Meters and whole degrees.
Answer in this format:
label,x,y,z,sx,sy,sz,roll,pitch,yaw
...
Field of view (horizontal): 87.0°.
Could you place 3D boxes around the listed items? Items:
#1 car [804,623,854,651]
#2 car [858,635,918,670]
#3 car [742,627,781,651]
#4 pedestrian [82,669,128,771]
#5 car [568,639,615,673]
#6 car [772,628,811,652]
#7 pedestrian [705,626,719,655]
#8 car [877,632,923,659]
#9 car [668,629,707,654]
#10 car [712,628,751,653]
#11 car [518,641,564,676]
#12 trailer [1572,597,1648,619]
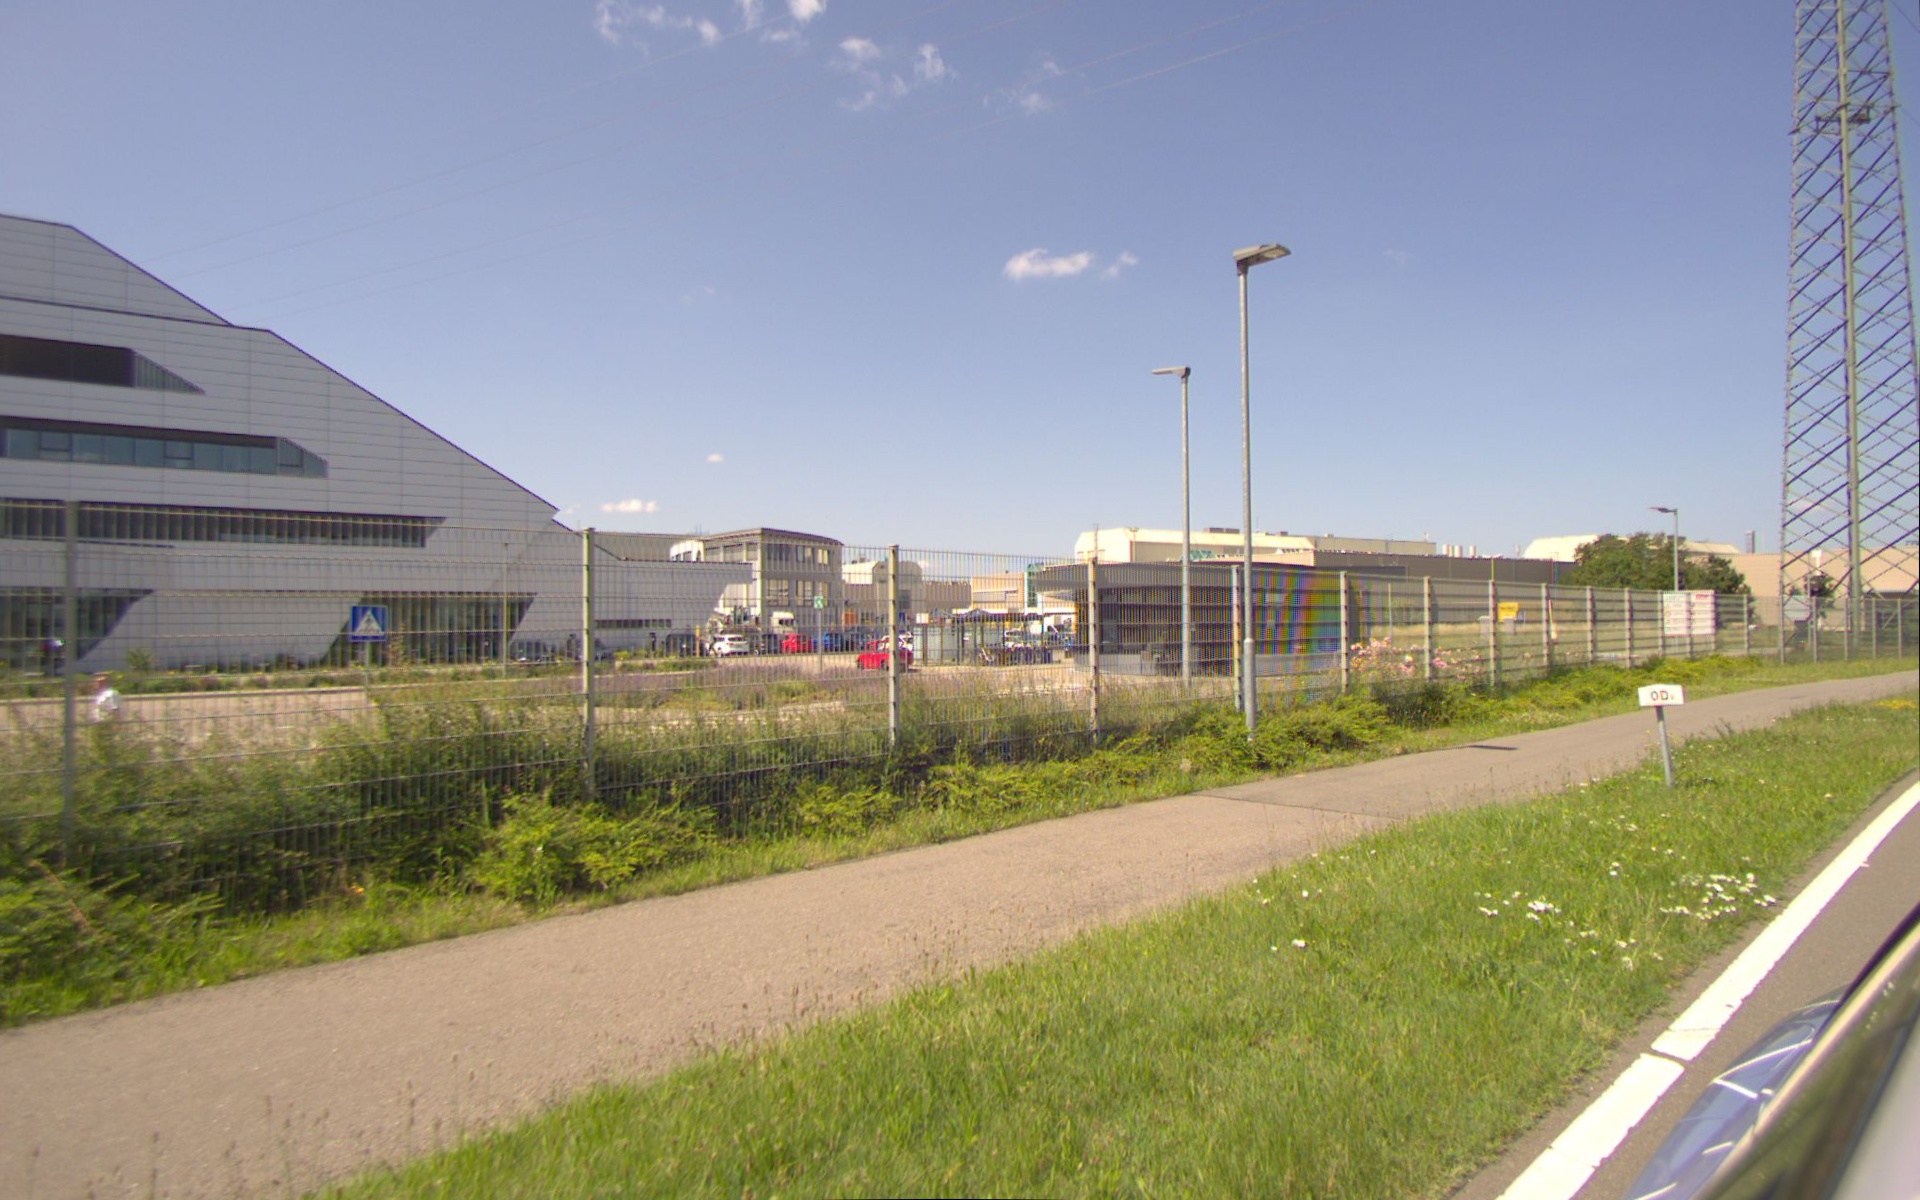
label,x,y,z,sx,sy,sz,roll,pitch,yaw
car,-9.928,2.773,76.188,1.960,2.040,4.755,0,-2,-31
car,-3.507,2.512,49.007,1.428,1.554,3.151,0,-1,-36
car,-13.347,2.612,68.074,1.443,1.554,3.056,0,-1,-35
pedestrian,-14.720,2.044,17.430,0.564,1.674,0.484,0,-2,-37
car,-18.427,2.773,50.560,1.443,1.554,3.056,0,-1,-35
car,-11.642,2.749,69.872,1.443,1.554,3.056,0,-1,-35
pedestrian,-15.545,2.537,63.401,0.674,1.767,0.612,0,0,-36
car,-3.709,2.780,62.088,1.443,1.554,3.056,0,-1,-35
car,-17.475,2.635,64.829,1.443,1.554,3.056,0,-1,-35
car,-14.955,2.617,66.124,1.443,1.554,3.056,0,-1,-35
car,-20.302,2.793,48.996,1.443,1.554,3.056,0,-1,-35
trailer,84.560,1.029,131.488,13.812,2.747,2.002,0,0,-29
